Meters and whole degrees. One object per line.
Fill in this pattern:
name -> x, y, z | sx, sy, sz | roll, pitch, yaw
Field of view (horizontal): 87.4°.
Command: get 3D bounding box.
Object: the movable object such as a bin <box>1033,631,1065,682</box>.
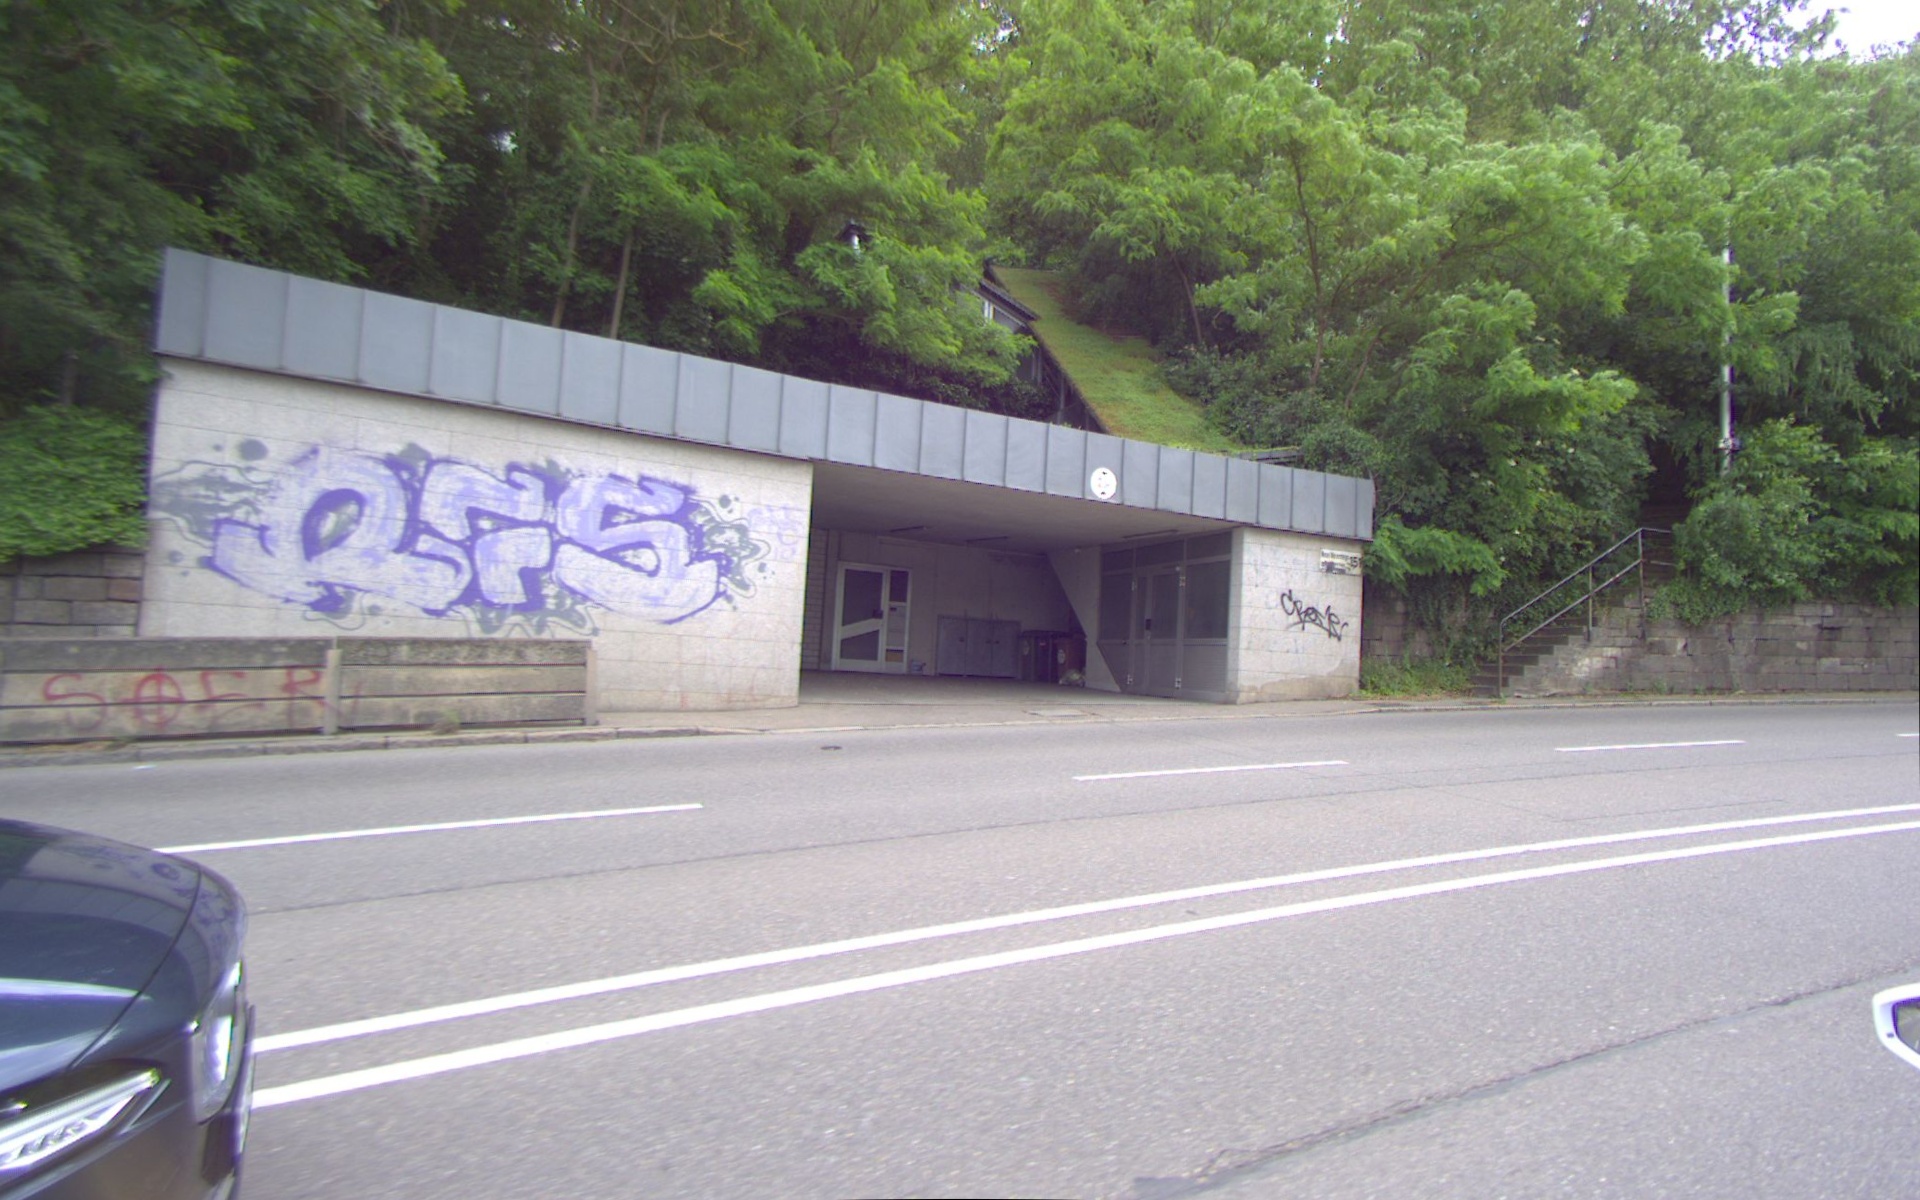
movable object such as a bin -> 1.851, 1.166, 20.857 | 0.501, 1.010, 0.427 | 2, 1, -15

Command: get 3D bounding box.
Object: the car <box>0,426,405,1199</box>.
car -> -3.371, 0.514, 0.816 | 4.974, 1.598, 1.923 | 2, 1, -34

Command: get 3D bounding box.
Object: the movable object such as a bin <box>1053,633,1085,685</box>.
movable object such as a bin -> 2.218, 1.189, 20.438 | 0.490, 1.010, 0.427 | 2, 1, -15

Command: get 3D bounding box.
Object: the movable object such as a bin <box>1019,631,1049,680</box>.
movable object such as a bin -> 1.584, 1.184, 21.524 | 0.471, 1.010, 0.496 | 2, 1, -14
